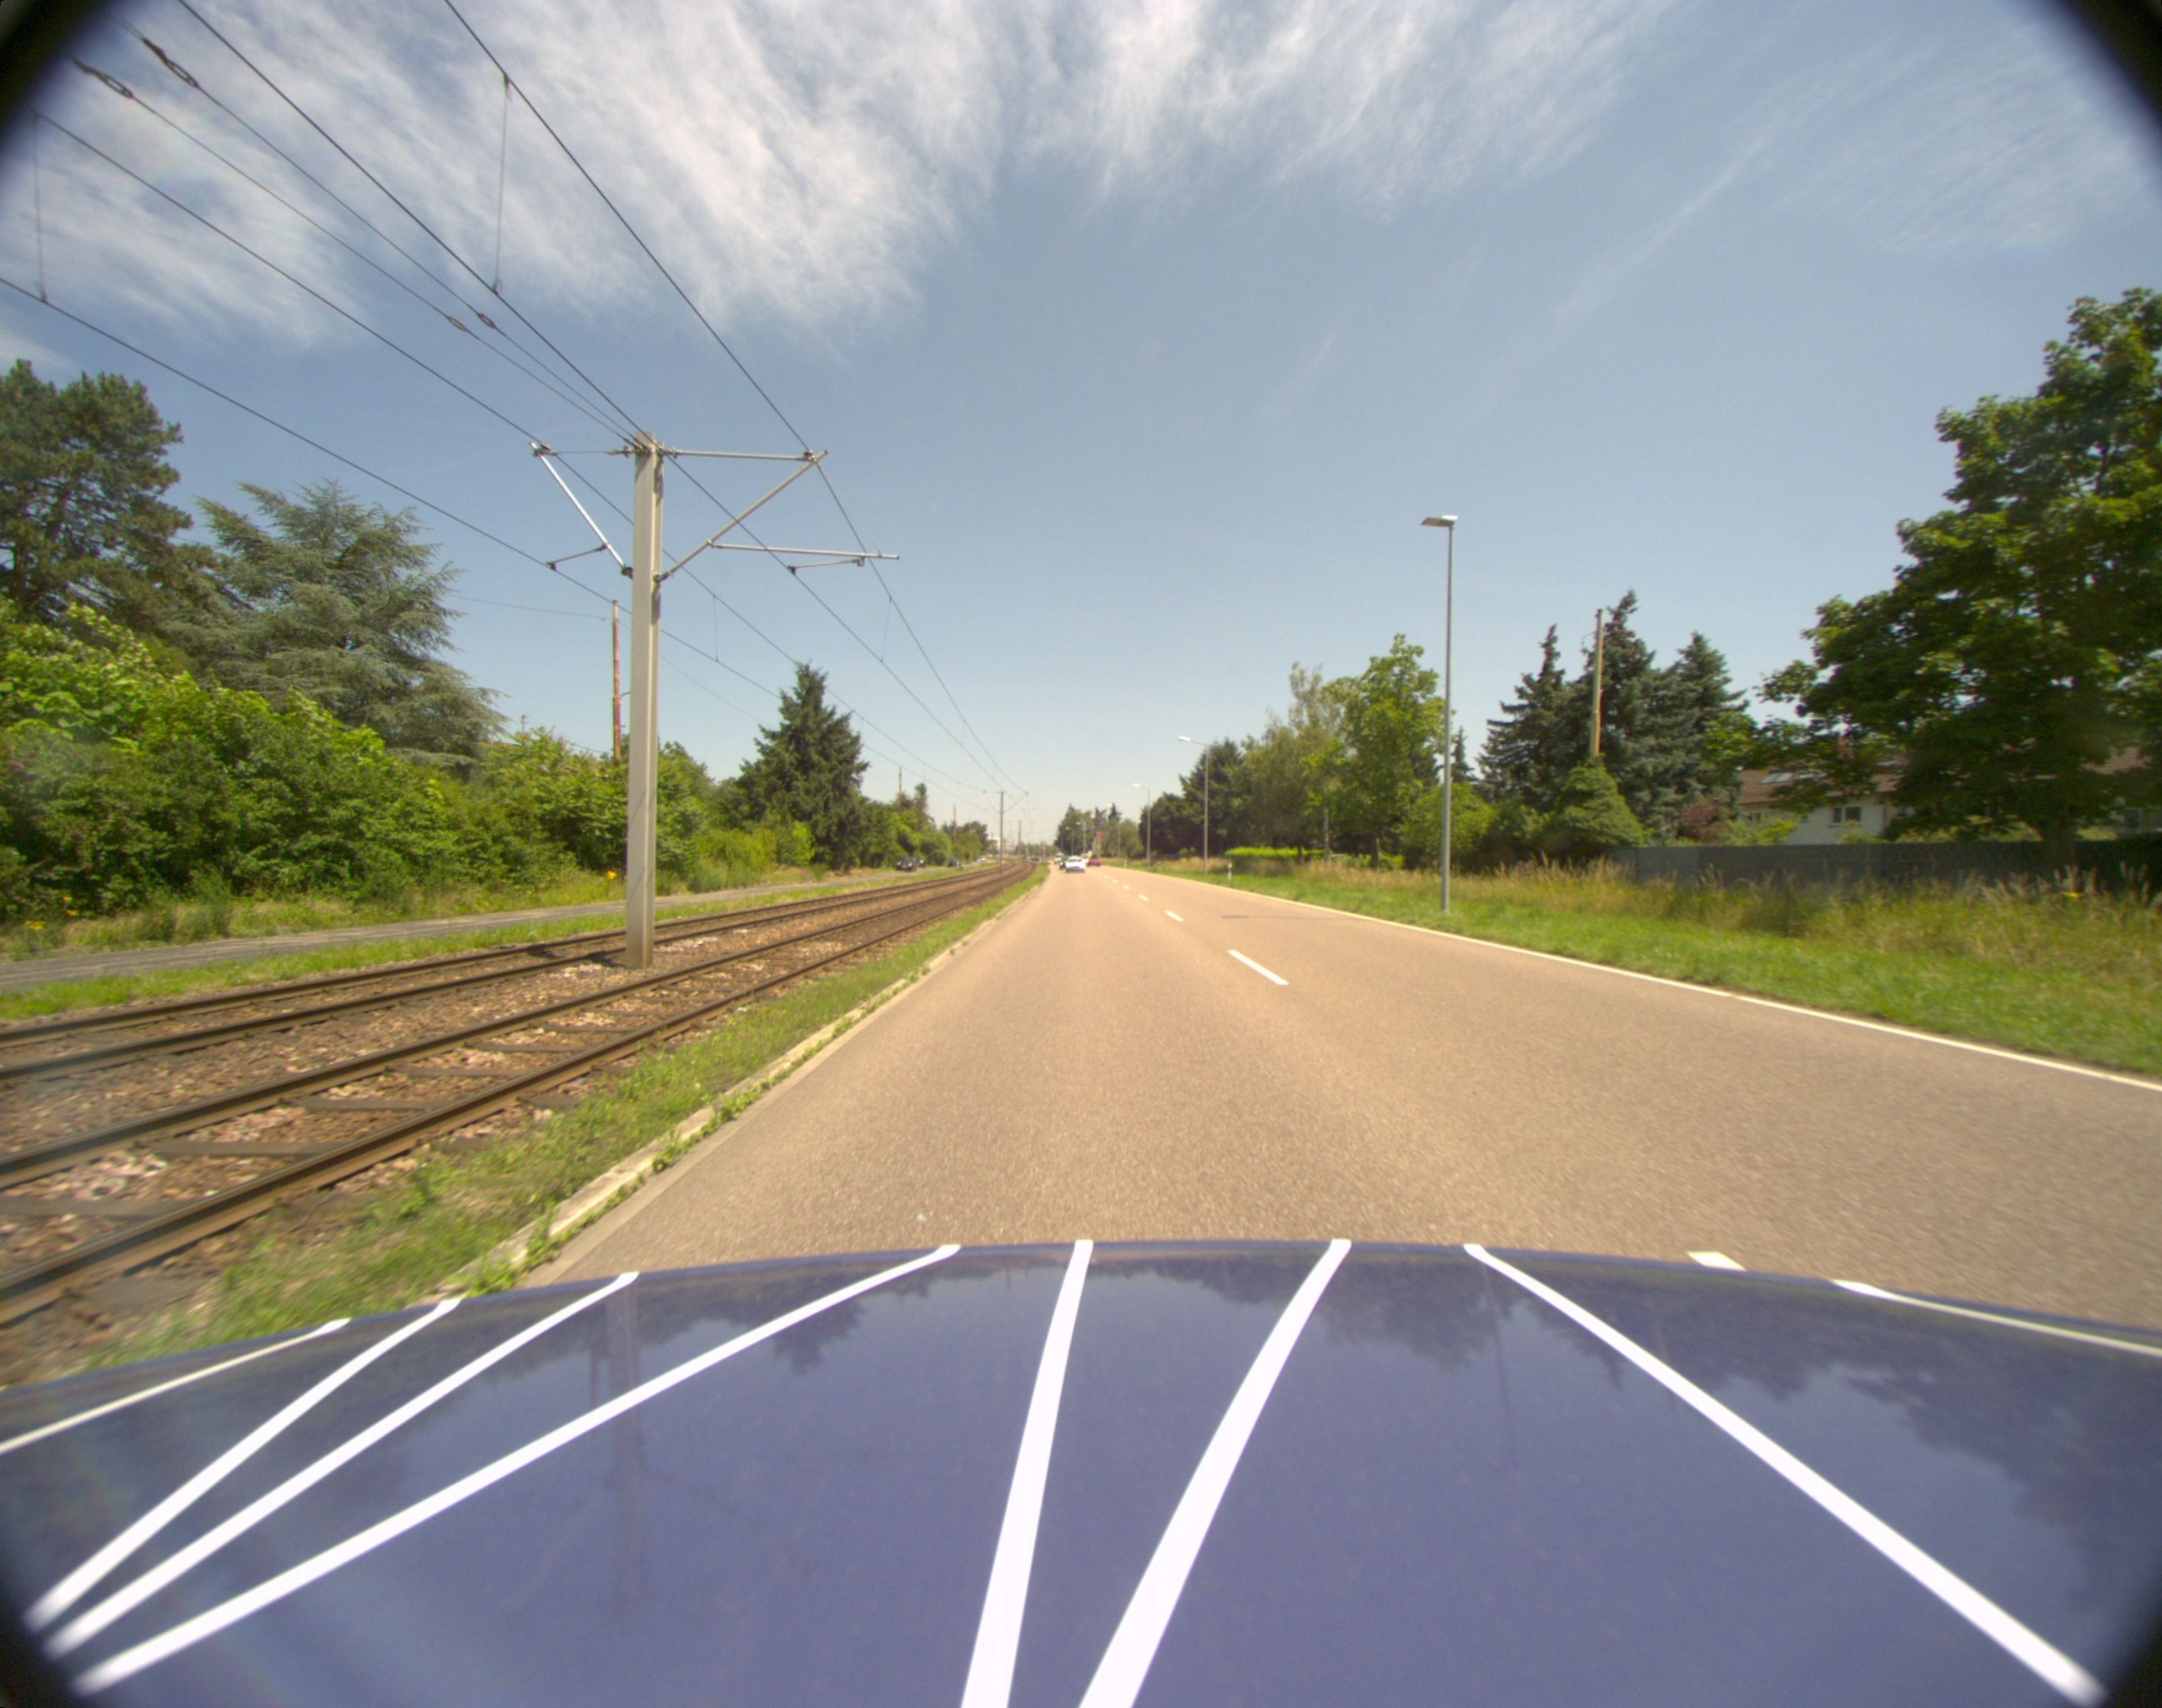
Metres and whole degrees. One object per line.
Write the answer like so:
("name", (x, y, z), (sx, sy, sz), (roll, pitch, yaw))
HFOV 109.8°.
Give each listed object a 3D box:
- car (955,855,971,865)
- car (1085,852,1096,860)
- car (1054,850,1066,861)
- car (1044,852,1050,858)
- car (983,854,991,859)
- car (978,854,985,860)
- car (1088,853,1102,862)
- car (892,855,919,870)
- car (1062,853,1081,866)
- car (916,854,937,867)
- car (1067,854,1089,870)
("car", (-16.780, 0.864, 108.237), (1.866, 1.322, 4.513), (0, 0, -5))
("car", (1.670, 0.329, 130.723), (1.687, 1.242, 3.908), (0, 0, -2))
("car", (-3.751, 0.298, 136.882), (1.938, 2.002, 3.998), (0, 0, -5))
("car", (-10.843, 0.339, 242.413), (1.938, 2.002, 3.998), (0, 0, -5))
("car", (-24.296, 0.660, 197.240), (1.945, 1.414, 3.997), (0, 0, -6))
("car", (-23.400, 0.760, 178.711), (1.625, 1.414, 4.870), (0, 0, -5))
("car", (1.997, 0.453, 109.634), (1.754, 1.293, 4.252), (0, 0, -1))
("car", (-17.534, 0.822, 76.055), (1.919, 1.462, 3.999), (0, 0, -2))
("car", (-1.173, 0.649, 90.561), (1.999, 1.576, 3.998), (0, 0, -4))
("car", (-18.925, 0.733, 93.211), (1.940, 1.552, 4.554), (0, 0, -5))
("car", (-0.309, 0.780, 73.054), (1.857, 1.447, 3.704), (0, 0, -4))
